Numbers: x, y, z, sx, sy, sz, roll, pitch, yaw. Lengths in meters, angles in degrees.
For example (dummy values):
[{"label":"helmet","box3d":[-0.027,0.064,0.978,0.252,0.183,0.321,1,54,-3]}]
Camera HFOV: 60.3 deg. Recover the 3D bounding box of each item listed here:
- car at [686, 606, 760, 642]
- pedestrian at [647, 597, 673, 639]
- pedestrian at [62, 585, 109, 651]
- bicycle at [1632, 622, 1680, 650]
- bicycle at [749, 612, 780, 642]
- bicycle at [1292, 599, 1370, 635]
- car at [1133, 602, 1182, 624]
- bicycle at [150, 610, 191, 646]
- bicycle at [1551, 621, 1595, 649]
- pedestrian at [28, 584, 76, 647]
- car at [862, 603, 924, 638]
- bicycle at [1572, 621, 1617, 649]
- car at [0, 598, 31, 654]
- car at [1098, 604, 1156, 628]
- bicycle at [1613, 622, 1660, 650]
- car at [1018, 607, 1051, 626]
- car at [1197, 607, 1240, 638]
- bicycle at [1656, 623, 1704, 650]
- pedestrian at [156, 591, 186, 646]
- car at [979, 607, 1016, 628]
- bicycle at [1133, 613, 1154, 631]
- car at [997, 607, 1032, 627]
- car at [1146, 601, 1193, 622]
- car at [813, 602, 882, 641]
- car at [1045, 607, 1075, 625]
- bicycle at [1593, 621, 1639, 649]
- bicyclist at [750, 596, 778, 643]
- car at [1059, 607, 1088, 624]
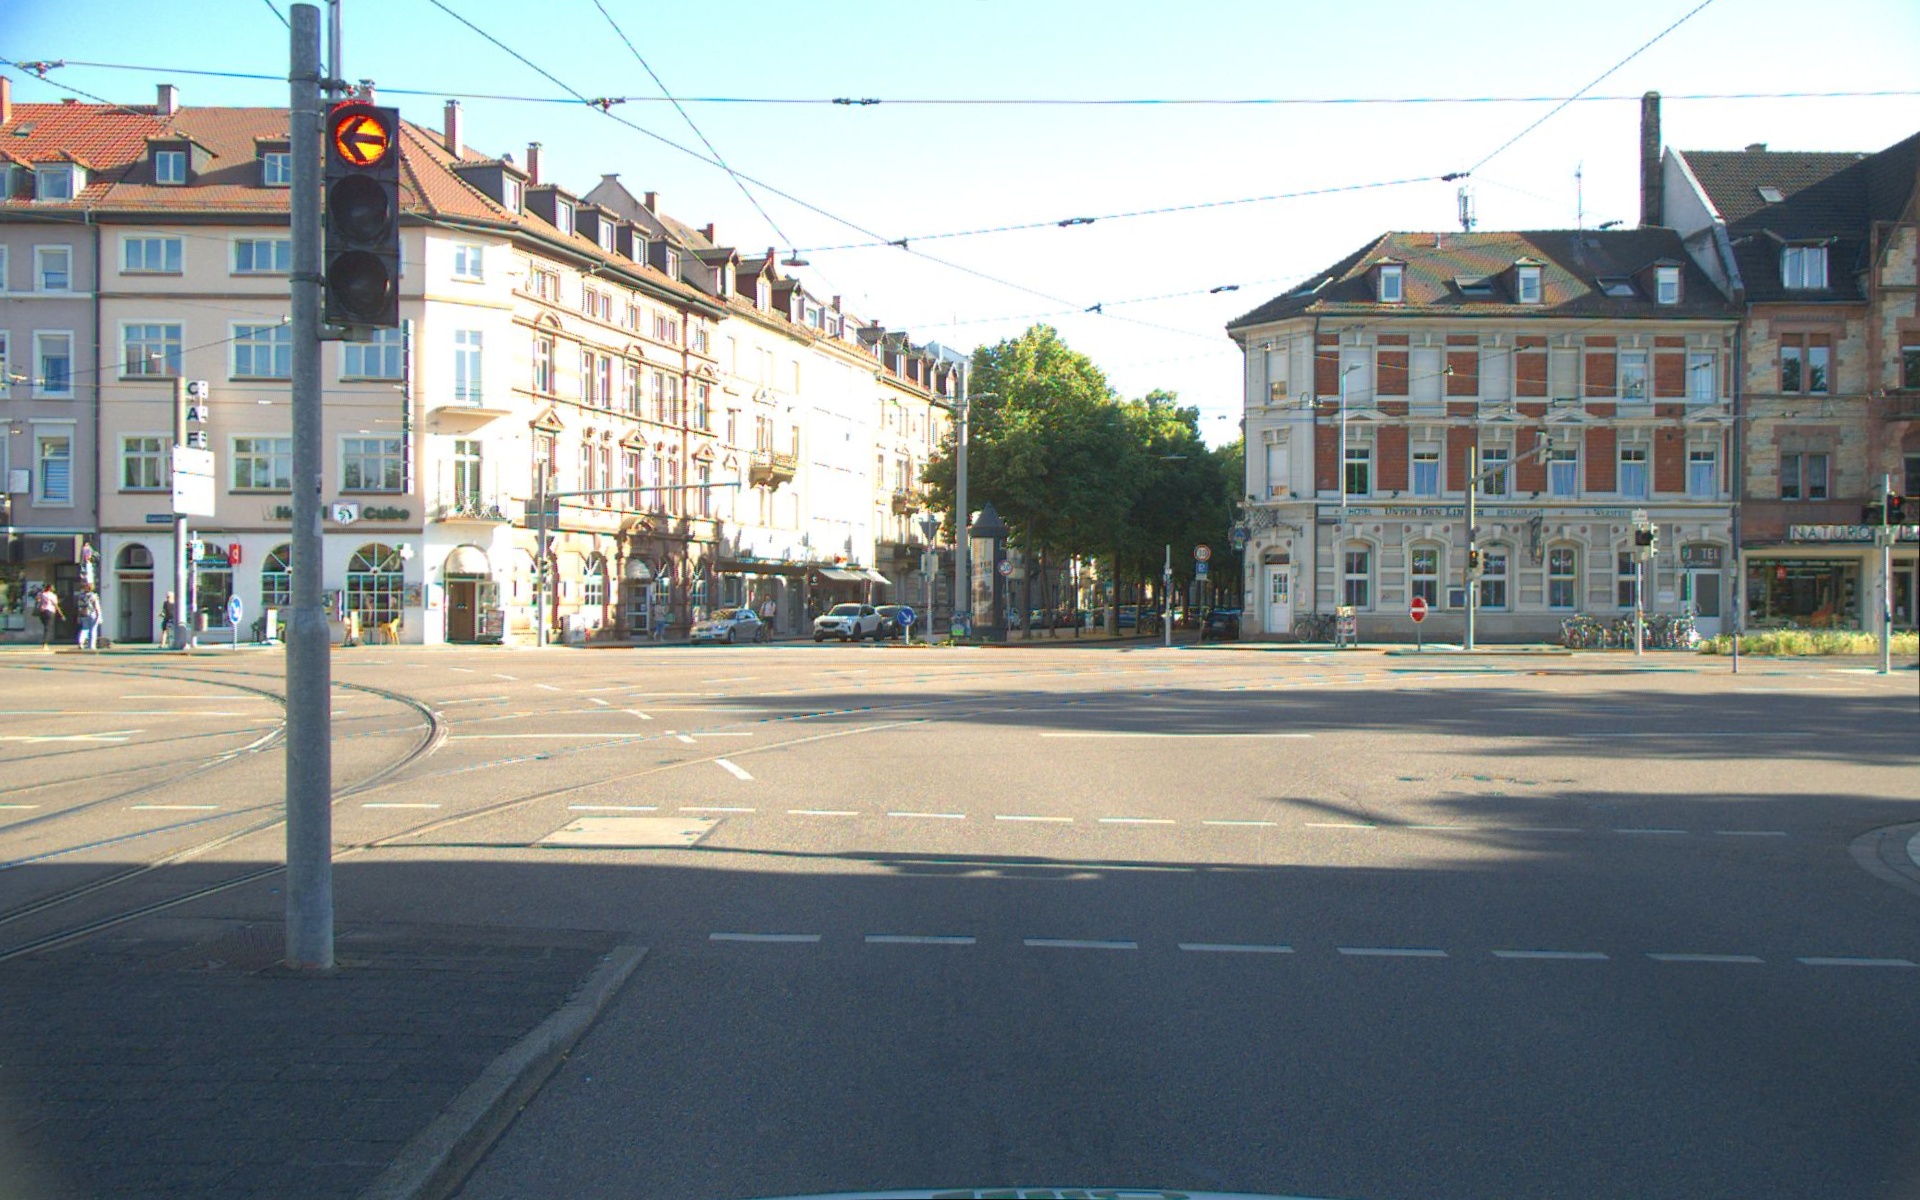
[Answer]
[{"label":"car","box3d":[-9.538,0.934,66.734,1.642,1.378,3.593,0,0,16]},{"label":"pedestrian","box3d":[-12.381,0.727,68.217,0.759,1.699,0.831,1,-1,15]},{"label":"pedestrian","box3d":[-21.440,0.435,40.567,0.539,1.605,0.832,1,-1,27]},{"label":"bicycle","box3d":[22.492,1.158,53.468,0.645,0.855,2.160,1,0,1]},{"label":"bicycle","box3d":[-7.679,1.047,65.116,0.687,1.137,1.636,1,0,13]},{"label":"bicycle","box3d":[12.868,0.591,57.445,2.504,1.194,0.818,1,-1,-4]},{"label":"car","box3d":[15.325,0.965,128.234,3.503,1.677,1.684,0,0,16]},{"label":"bicycle","box3d":[-24.790,0.865,51.948,0.561,1.096,1.497,1,0,-1]},{"label":"bicycle","box3d":[19.762,1.110,53.355,0.645,0.855,2.160,1,0,1]},{"label":"pedestrian","box3d":[-23.877,0.406,43.507,0.710,1.605,0.834,1,-1,9]},{"label":"car","box3d":[-2.946,0.889,73.540,1.642,1.509,3.950,0,0,16]},{"label":"bicycle","box3d":[20.482,1.123,53.442,0.645,0.855,2.160,1,0,1]},{"label":"car","box3d":[-32.151,0.788,52.248,4.276,1.741,2.306,1,0,1]},{"label":"car","box3d":[11.719,1.121,115.822,3.819,1.677,1.684,0,0,16]},{"label":"bicycle","box3d":[21.864,1.147,53.489,0.645,0.855,2.160,1,0,1]},{"label":"car","box3d":[5.539,1.215,122.490,1.642,1.378,3.593,0,0,16]},{"label":"car","box3d":[12.961,1.109,82.737,1.642,1.509,3.950,0,0,16]},{"label":"bicycle","box3d":[23.280,1.171,53.514,0.645,0.855,2.160,1,0,1]},{"label":"pedestrian","box3d":[-24.786,0.570,51.971,0.570,1.699,0.752,1,-1,-1]},{"label":"car","box3d":[2.569,1.143,111.328,1.642,1.378,3.593,0,0,16]},{"label":"bicycle","box3d":[11.056,1.300,99.615,0.625,1.039,1.840,1,0,-14]},{"label":"car","box3d":[3.827,1.162,115.503,1.642,1.378,3.593,0,0,16]},{"label":"car","box3d":[16.948,0.891,133.734,3.503,1.677,1.684,0,0,16]},{"label":"car","box3d":[-4.533,0.844,67.215,1.642,1.509,3.774,0,0,16]},{"label":"car","box3d":[7.898,1.219,130.832,1.642,1.378,3.593,0,0,16]},{"label":"bicycle","box3d":[21.193,1.135,53.455,0.645,0.855,2.160,1,0,1]},{"label":"bicyclist","box3d":[-7.712,0.767,64.993,0.761,1.834,1.056,1,-1,13]},{"label":"car","box3d":[9.323,1.256,135.883,1.642,1.378,3.593,0,0,16]}]
